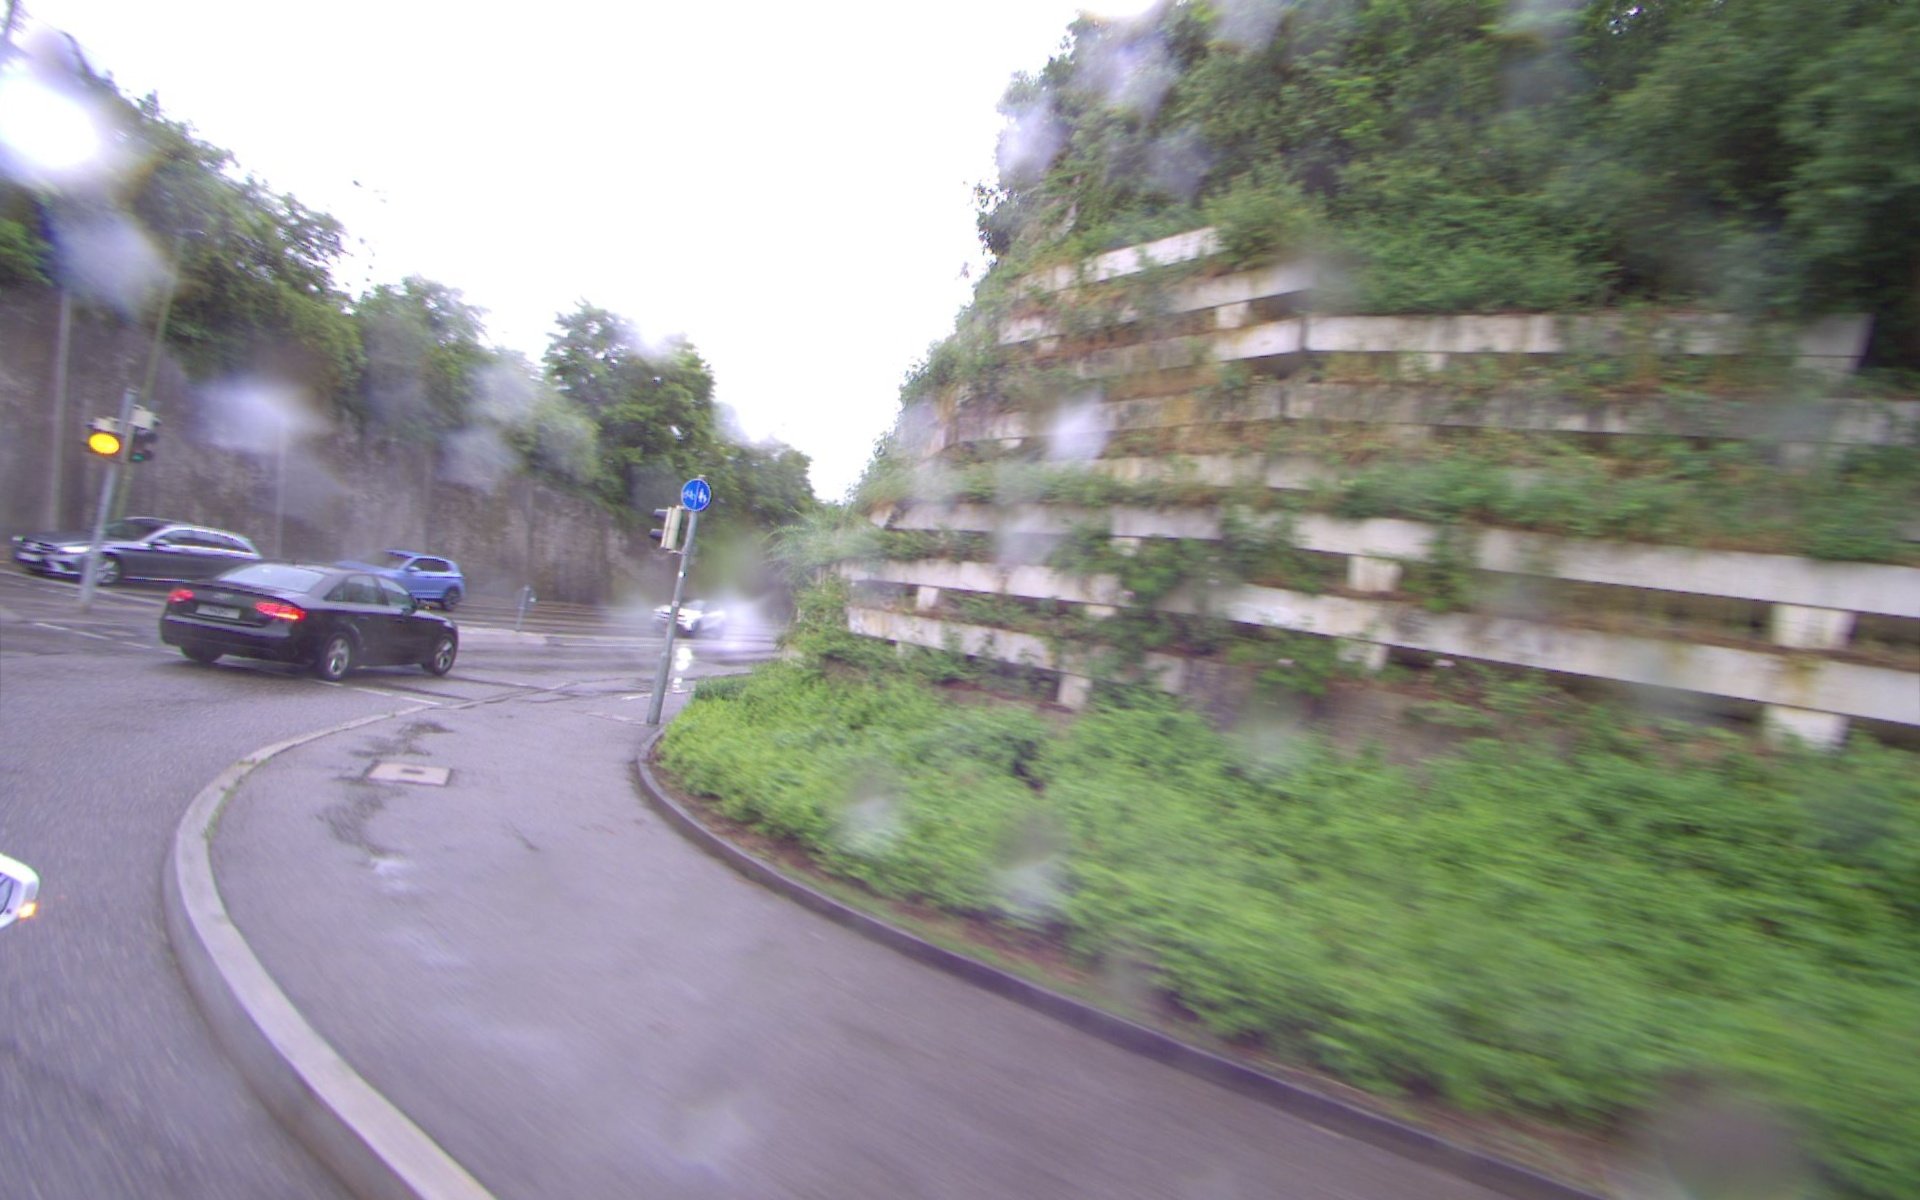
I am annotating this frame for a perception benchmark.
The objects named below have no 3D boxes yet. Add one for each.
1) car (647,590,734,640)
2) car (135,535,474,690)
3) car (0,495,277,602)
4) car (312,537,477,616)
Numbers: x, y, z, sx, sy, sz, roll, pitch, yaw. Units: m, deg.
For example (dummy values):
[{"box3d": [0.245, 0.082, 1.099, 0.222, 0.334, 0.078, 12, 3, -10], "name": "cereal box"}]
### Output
[{"box3d": [-10.904, 0.658, 41.027, 1.839, 1.619, 4.007, 8, -3, 8], "name": "car"}, {"box3d": [-8.458, 0.218, 13.548, 1.865, 1.509, 4.208, 8, -2, -4], "name": "car"}, {"box3d": [-17.535, -1.015, 21.458, 1.962, 1.520, 4.736, 7, -3, 12], "name": "car"}, {"box3d": [-16.310, -0.620, 29.276, 1.786, 1.675, 4.057, 8, -3, 12], "name": "car"}]
